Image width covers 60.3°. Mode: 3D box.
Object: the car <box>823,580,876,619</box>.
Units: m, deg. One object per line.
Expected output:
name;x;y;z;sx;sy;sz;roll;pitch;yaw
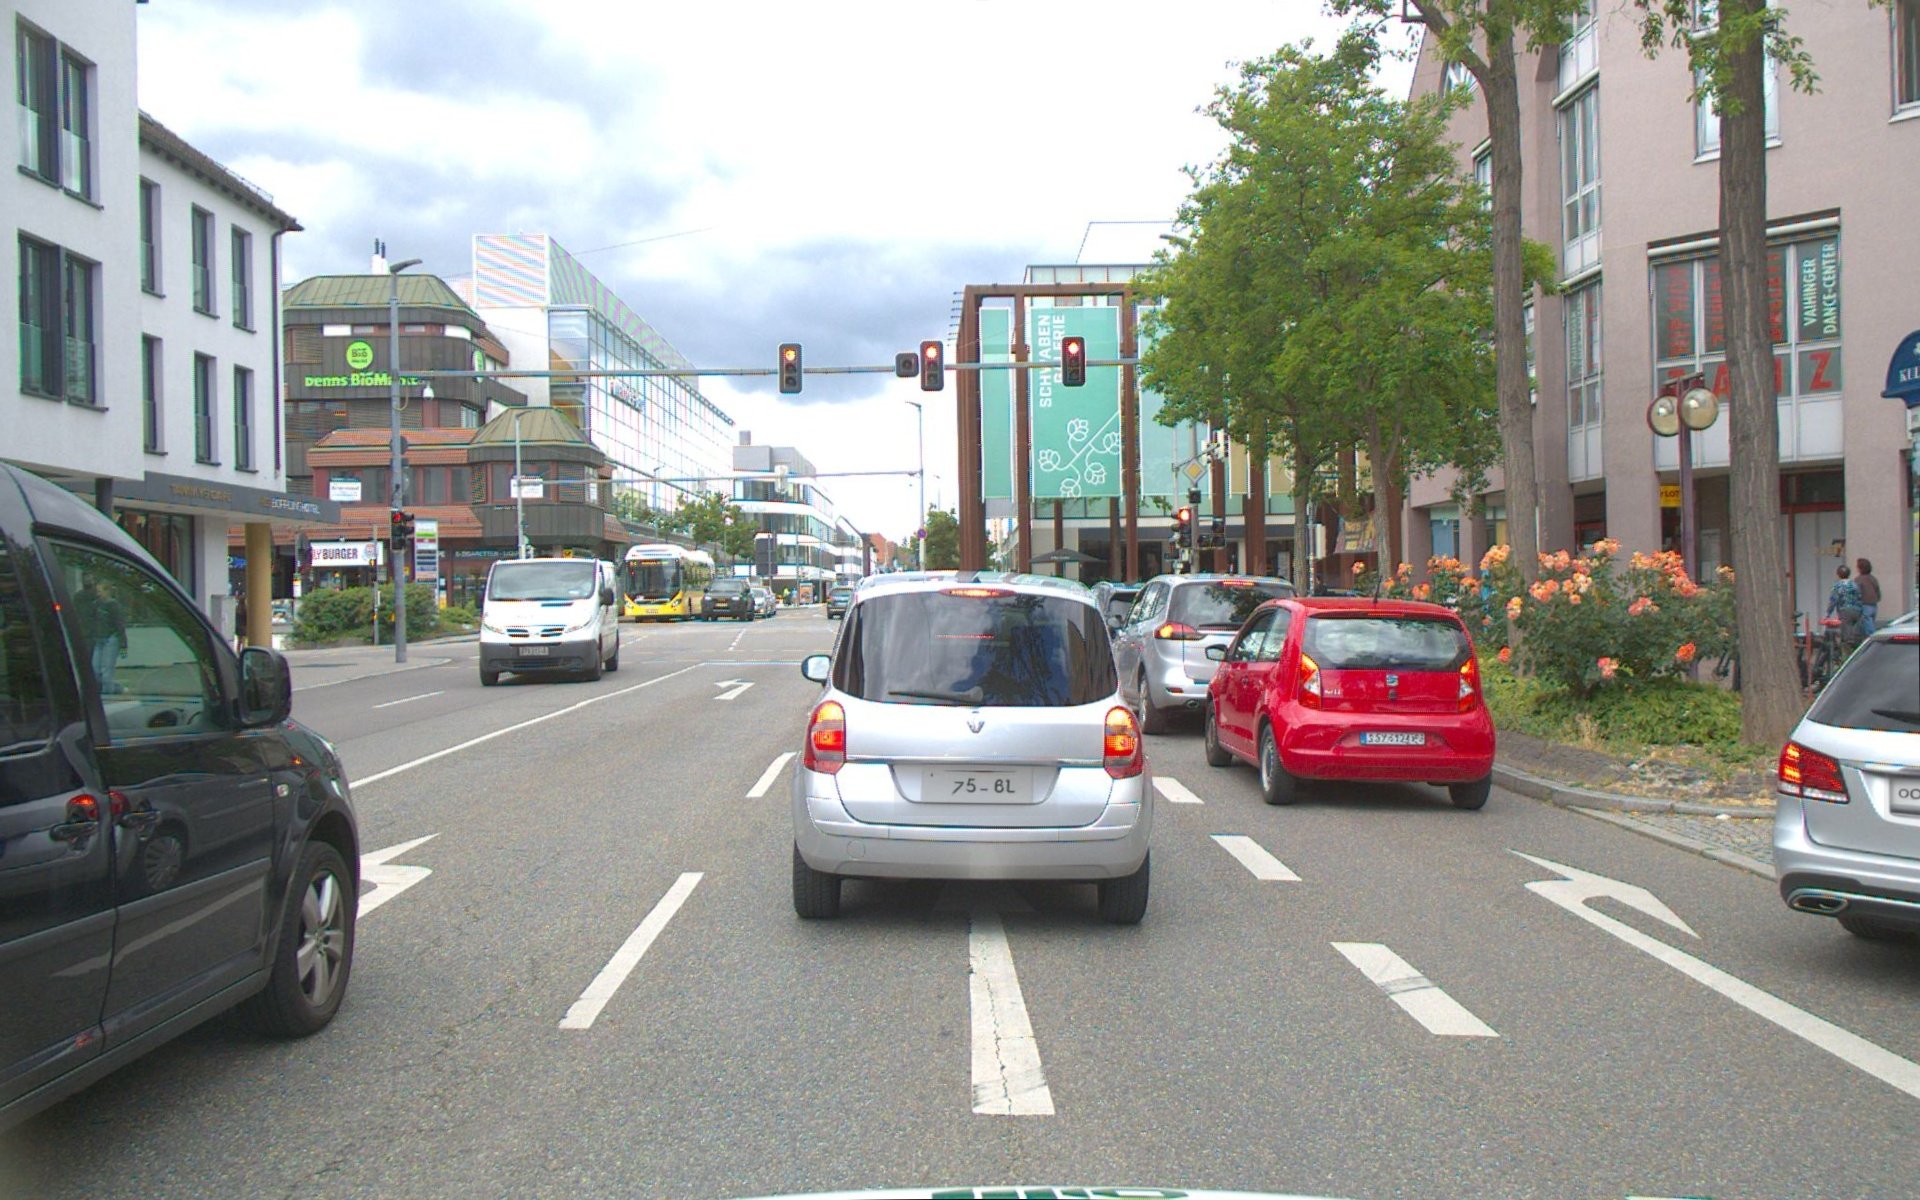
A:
car;-4.980;-0.036;75.016;1.877;1.706;4.244;-1;1;4

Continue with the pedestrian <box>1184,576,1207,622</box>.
pedestrian;8.672;-0.030;60.886;0.641;1.679;0.557;-1;0;-15

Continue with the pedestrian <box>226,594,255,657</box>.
pedestrian;-19.375;0.679;44.555;0.653;1.678;0.788;-1;0;-22

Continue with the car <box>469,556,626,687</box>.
car;-6.786;0.306;27.727;1.956;1.921;5.149;-2;1;-8

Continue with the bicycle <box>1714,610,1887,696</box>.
bicycle;10.343;0.648;20.376;1.861;1.014;0.468;-1;0;3

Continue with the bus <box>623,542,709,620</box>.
bus;-13.256;-0.842;75.206;2.633;3.318;8.650;-1;1;-2

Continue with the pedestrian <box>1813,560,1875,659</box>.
pedestrian;13.930;0.144;26.072;0.601;1.542;0.617;-1;0;-23

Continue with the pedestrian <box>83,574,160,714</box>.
pedestrian;-11.141;0.576;21.993;0.668;1.821;0.649;-1;0;-1

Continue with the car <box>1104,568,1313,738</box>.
car;2.647;0.514;18.394;1.555;1.662;3.914;1;0;-3

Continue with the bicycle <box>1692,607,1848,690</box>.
bicycle;10.237;0.608;20.928;1.731;1.014;0.447;-1;0;3

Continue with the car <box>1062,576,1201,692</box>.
car;2.555;0.470;25.458;1.555;1.623;3.866;1;0;-3

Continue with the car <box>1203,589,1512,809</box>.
car;2.963;0.666;12.963;1.554;1.468;3.348;1;0;-1

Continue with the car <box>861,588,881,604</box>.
car;-9.391;-0.439;174.562;1.764;1.567;4.065;-1;1;0

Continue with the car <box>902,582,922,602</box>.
car;-4.863;-0.779;167.387;1.953;1.983;4.949;-1;1;-2

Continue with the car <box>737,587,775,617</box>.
car;-9.882;0.071;80.116;1.524;1.416;3.286;-1;1;-2

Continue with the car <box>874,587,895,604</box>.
car;-7.200;-0.448;157.545;1.764;1.567;4.065;-1;1;0

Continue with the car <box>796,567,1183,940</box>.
car;0.095;0.626;8.594;1.606;1.554;3.393;0;1;-1

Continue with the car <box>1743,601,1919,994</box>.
car;5.539;0.752;7.433;4.319;1.473;1.798;-1;1;-36

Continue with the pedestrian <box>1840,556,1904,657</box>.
pedestrian;14.536;0.098;26.362;0.653;1.591;0.617;-1;0;-23

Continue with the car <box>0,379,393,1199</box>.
car;-2.835;0.480;3.608;1.709;1.887;4.632;1;0;-2

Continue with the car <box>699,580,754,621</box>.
car;-10.201;-0.013;72.531;1.953;1.735;4.063;-1;1;-2

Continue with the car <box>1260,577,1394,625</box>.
car;11.248;0.020;50.832;3.752;1.413;1.684;-1;1;-1

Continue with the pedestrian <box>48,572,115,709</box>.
pedestrian;-11.828;0.538;22.292;0.557;1.806;0.646;-1;0;-5
